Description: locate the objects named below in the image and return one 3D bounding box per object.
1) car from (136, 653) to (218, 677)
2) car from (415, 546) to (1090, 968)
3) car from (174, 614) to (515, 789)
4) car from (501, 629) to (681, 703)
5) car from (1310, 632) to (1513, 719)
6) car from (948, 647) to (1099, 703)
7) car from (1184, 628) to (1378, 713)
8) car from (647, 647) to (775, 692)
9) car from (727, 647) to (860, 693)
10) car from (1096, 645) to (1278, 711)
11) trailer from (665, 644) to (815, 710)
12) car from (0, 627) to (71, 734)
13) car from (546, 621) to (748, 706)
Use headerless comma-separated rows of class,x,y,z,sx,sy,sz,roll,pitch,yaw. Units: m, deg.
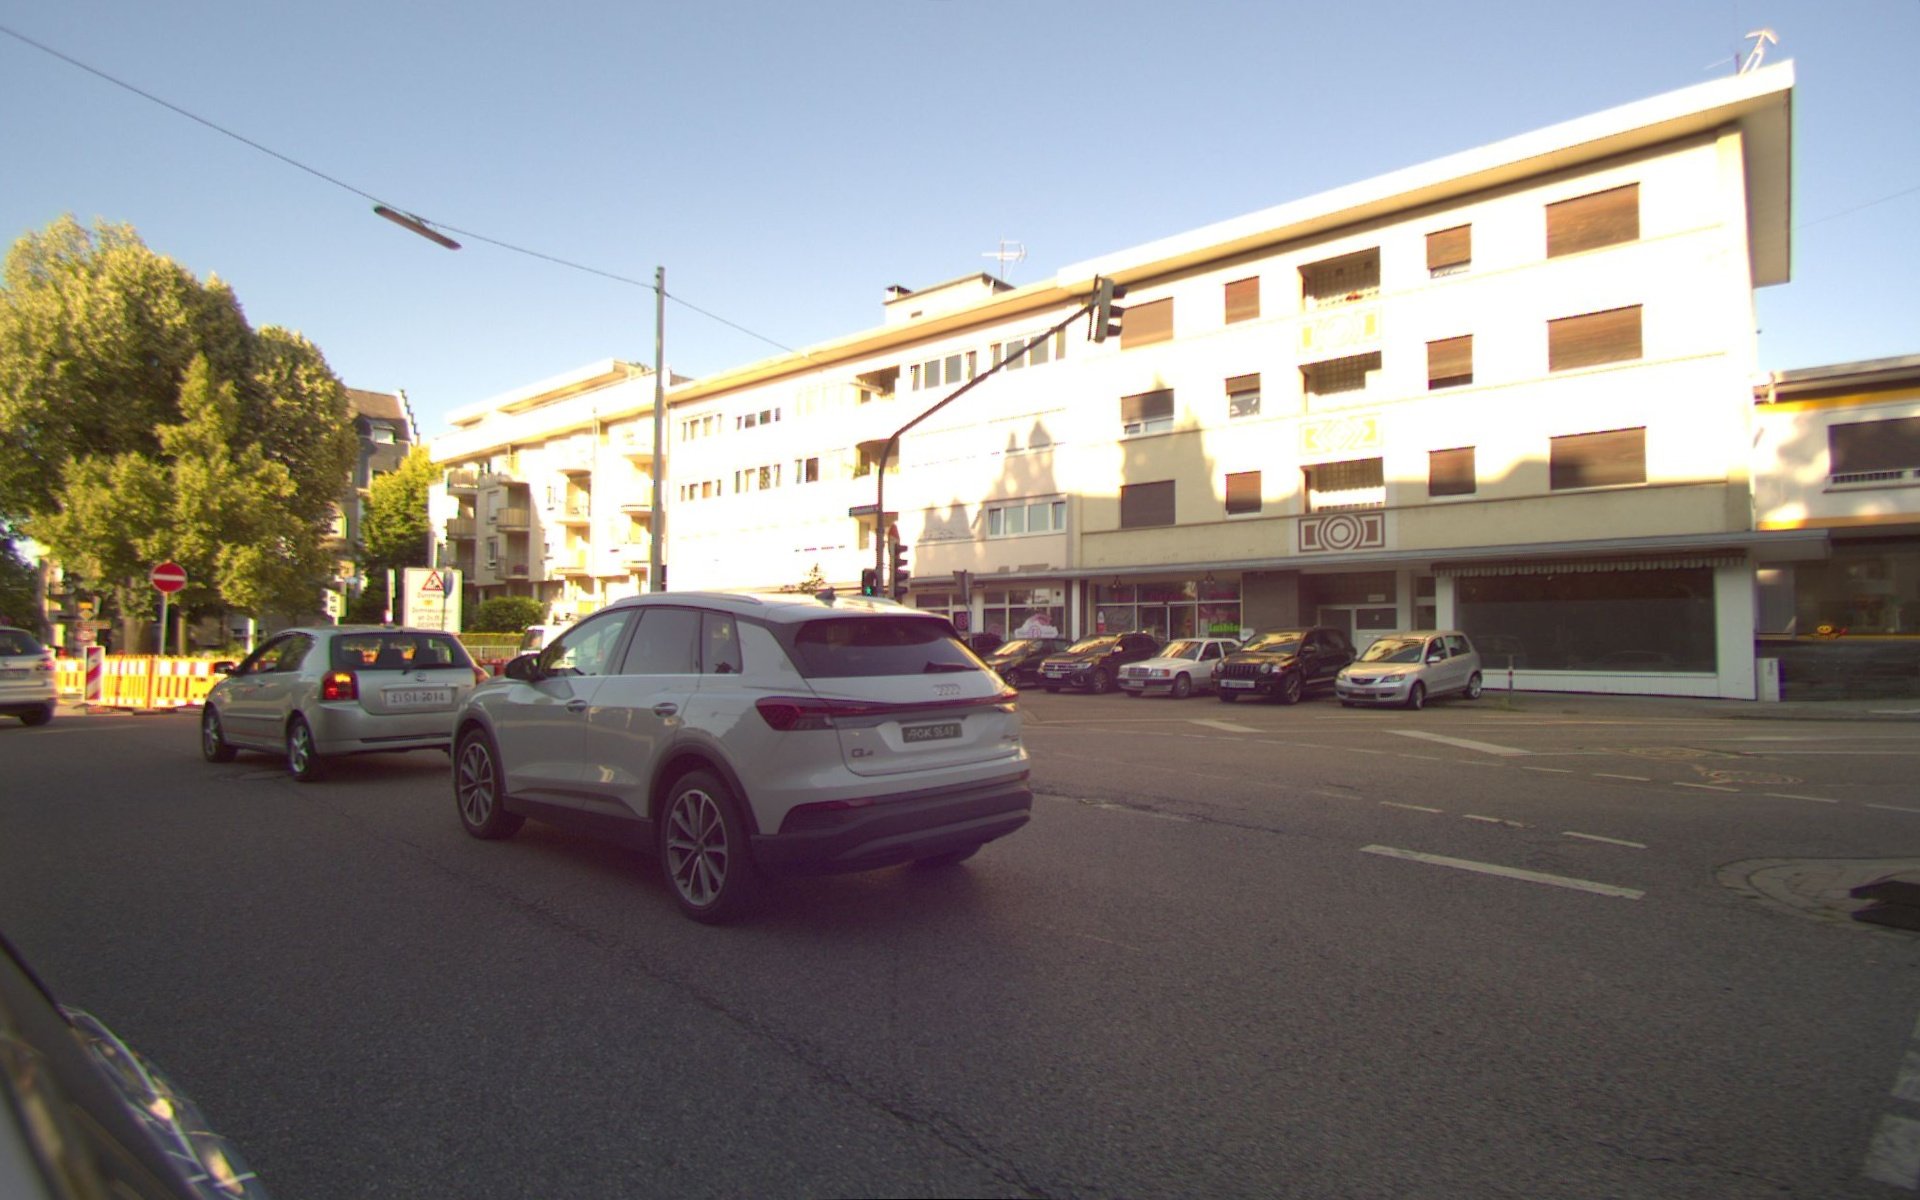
car,-51.345,4.262,66.424,2.000,1.564,3.943,-4,-5,43
car,-1.583,0.733,6.208,4.534,1.661,1.756,-4,-4,43
car,-6.537,0.969,10.593,4.091,1.491,1.758,-3,-3,39
car,-10.162,1.771,28.072,2.001,1.866,4.265,-4,-4,44
car,9.705,1.549,21.662,4.255,1.623,2.005,1,-3,-35
car,1.870,2.078,28.745,2.000,1.409,4.265,-4,-4,43
car,7.343,1.550,23.049,4.256,1.728,2.005,1,-3,-35
car,-9.253,2.551,37.865,2.000,1.522,4.265,-4,-4,43
car,-5.773,2.406,35.356,2.000,1.409,4.265,-4,-4,43
car,5.626,1.868,24.956,4.256,1.409,2.005,1,-3,-35
trailer,-5.182,1.788,24.064,1.572,1.407,3.221,-3,-3,39
car,-15.877,1.233,15.370,3.966,1.555,1.771,-2,-3,17
car,-7.991,1.587,26.171,2.115,1.980,4.620,-3,-3,39
